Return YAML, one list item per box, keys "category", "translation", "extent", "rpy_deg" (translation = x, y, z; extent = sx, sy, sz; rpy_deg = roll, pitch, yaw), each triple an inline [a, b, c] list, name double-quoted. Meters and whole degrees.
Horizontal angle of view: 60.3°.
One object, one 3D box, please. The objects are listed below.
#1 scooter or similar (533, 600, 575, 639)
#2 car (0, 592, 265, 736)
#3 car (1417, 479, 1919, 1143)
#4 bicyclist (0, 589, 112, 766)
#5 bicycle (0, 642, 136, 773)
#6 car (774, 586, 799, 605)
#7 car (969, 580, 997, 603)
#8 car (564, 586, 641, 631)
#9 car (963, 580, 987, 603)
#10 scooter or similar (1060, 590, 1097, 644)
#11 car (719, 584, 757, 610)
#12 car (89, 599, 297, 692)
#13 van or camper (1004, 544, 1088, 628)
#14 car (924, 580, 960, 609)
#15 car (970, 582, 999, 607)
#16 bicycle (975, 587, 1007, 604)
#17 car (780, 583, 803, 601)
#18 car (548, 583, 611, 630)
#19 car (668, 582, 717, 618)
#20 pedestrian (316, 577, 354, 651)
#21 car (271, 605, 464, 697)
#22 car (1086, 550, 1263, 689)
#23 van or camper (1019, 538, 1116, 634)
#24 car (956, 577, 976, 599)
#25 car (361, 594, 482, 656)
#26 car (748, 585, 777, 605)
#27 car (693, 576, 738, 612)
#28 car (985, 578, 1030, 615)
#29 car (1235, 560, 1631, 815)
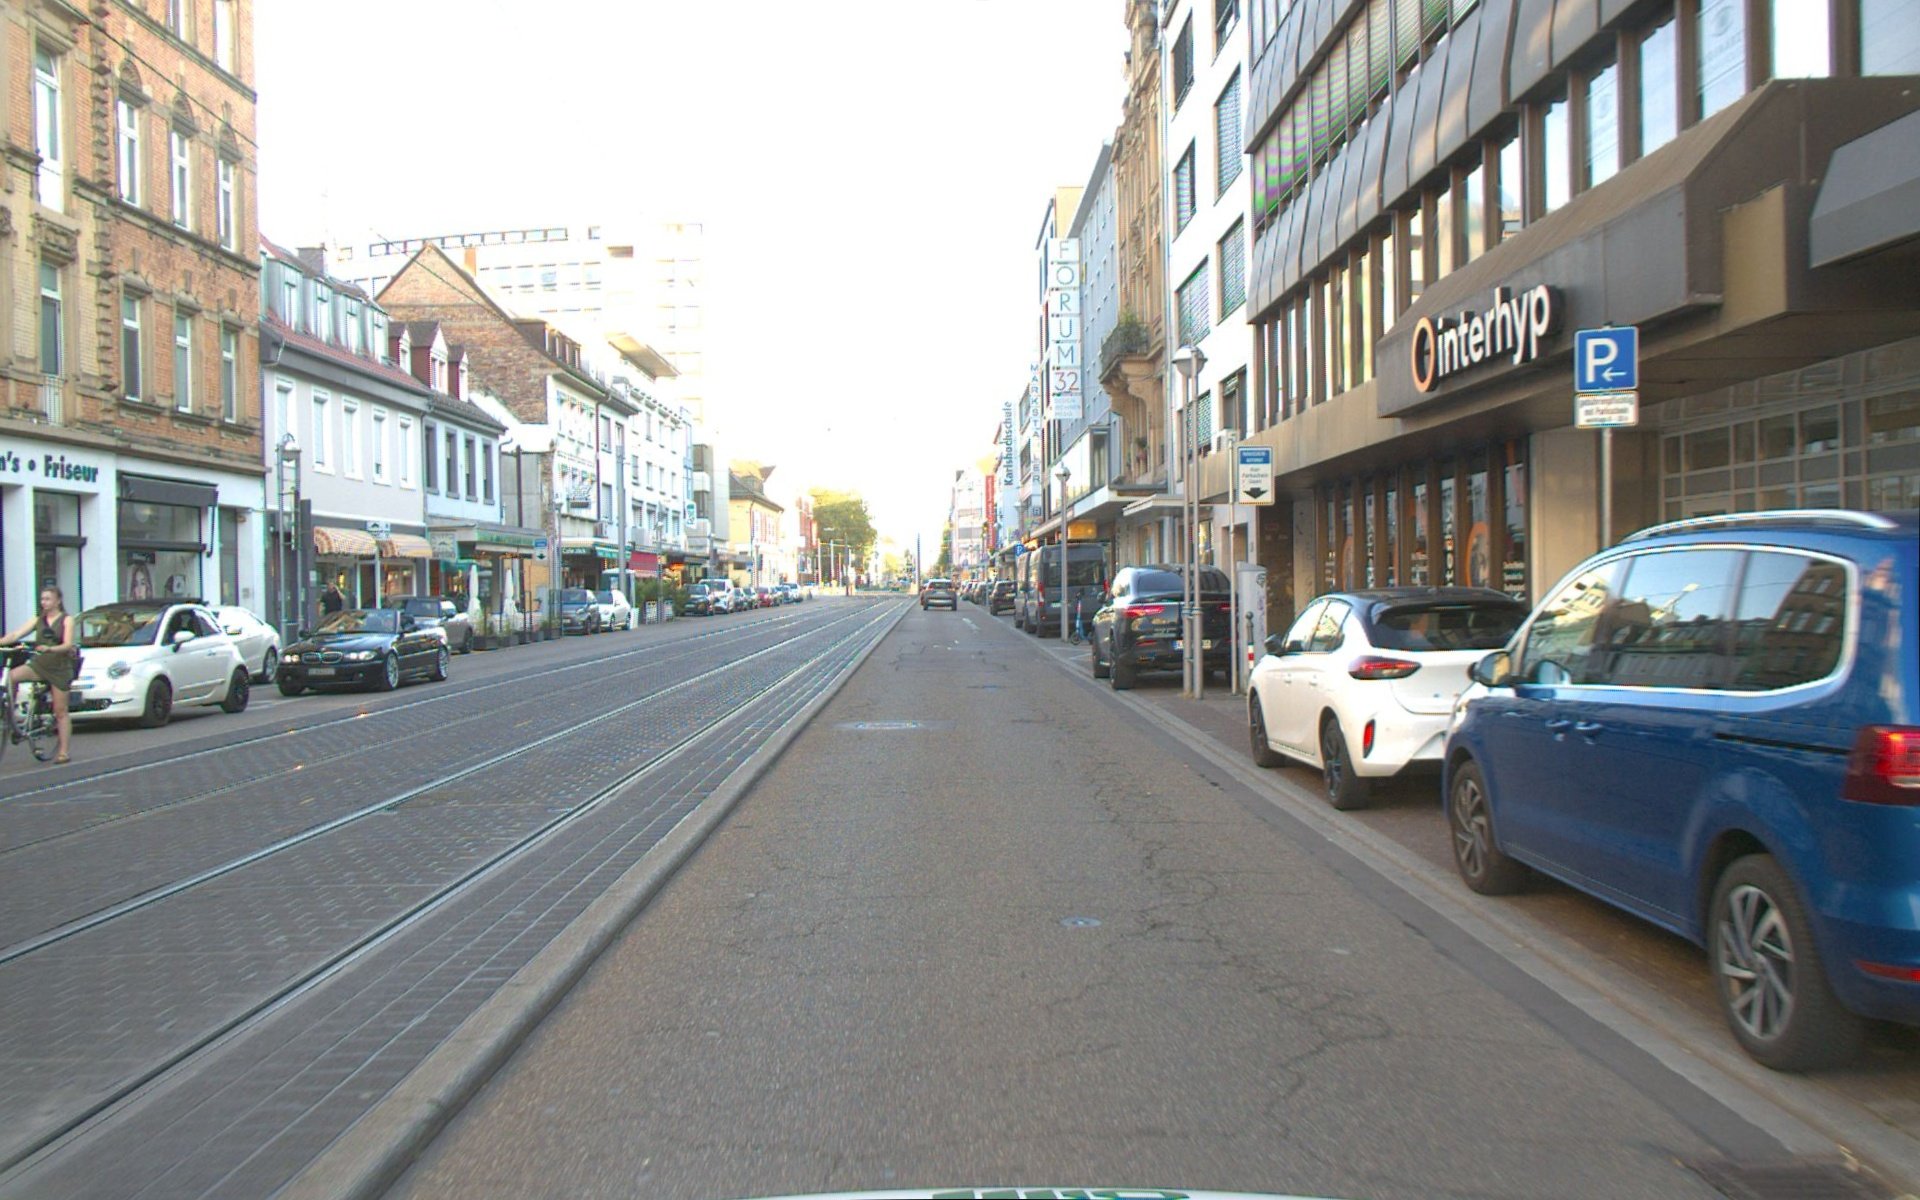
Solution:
- category: "scooter or similar"
  translation: [-13.100, 0.623, 53.380]
  extent: [1.287, 1.226, 0.294]
  rpy_deg: [1, 0, 0]
- category: "car"
  translation: [-10.303, 0.725, 20.709]
  extent: [1.633, 1.532, 3.679]
  rpy_deg: [-3, 1, -1]
- category: "car"
  translation: [3.420, 0.485, 6.535]
  extent: [1.876, 1.747, 4.563]
  rpy_deg: [-3, 1, 0]
- category: "bicyclist"
  translation: [-8.451, 0.701, 15.398]
  extent: [0.679, 1.593, 0.799]
  rpy_deg: [-1, 0, -2]
- category: "bicycle"
  translation: [-8.439, 0.960, 15.263]
  extent: [0.679, 1.052, 2.081]
  rpy_deg: [-1, 0, -2]
- category: "car"
  translation: [-14.538, -0.390, 138.404]
  extent: [1.754, 1.475, 3.890]
  rpy_deg: [1, 0, -2]
- category: "car"
  translation: [1.631, -0.616, 120.354]
  extent: [1.904, 1.571, 4.544]
  rpy_deg: [-3, 1, 0]
- category: "car"
  translation: [-13.181, 0.282, 61.194]
  extent: [1.812, 1.531, 4.841]
  rpy_deg: [1, 0, -1]
- category: "car"
  translation: [1.224, -0.710, 136.562]
  extent: [1.904, 1.732, 4.544]
  rpy_deg: [-3, 1, 0]
- category: "scooter or similar"
  translation: [2.869, 0.406, 39.916]
  extent: [0.347, 1.245, 1.113]
  rpy_deg: [-3, 0, 31]
- category: "car"
  translation: [-13.911, -0.190, 103.841]
  extent: [1.878, 1.547, 4.628]
  rpy_deg: [1, 0, -2]
- category: "car"
  translation: [-13.047, 0.725, 28.441]
  extent: [1.724, 1.414, 4.271]
  rpy_deg: [1, 0, -3]
- category: "van or camper"
  translation: [2.753, -0.453, 54.127]
  extent: [2.145, 2.468, 5.515]
  rpy_deg: [-3, 0, -2]
- category: "car"
  translation: [-0.984, -0.311, 91.599]
  extent: [1.904, 1.572, 4.544]
  rpy_deg: [-1, 1, 0]
- category: "car"
  translation: [1.682, -0.400, 114.903]
  extent: [1.904, 1.571, 4.544]
  rpy_deg: [-3, 1, 0]
- category: "bicycle"
  translation: [2.068, -0.299, 111.361]
  extent: [2.076, 1.109, 0.591]
  rpy_deg: [-1, 0, -4]
- category: "car"
  translation: [-14.701, -0.699, 144.450]
  extent: [1.754, 1.475, 3.890]
  rpy_deg: [1, 0, -2]
- category: "car"
  translation: [-13.017, 0.212, 56.676]
  extent: [1.559, 1.531, 2.812]
  rpy_deg: [1, 0, -2]
- category: "car"
  translation: [-14.140, -0.028, 87.772]
  extent: [1.878, 1.794, 4.429]
  rpy_deg: [1, 0, -1]
- category: "pedestrian"
  translation: [-15.429, 0.344, 40.844]
  extent: [0.634, 1.803, 0.855]
  rpy_deg: [0, 0, 0]
- category: "car"
  translation: [-9.601, 0.776, 27.140]
  extent: [1.633, 1.249, 4.273]
  rpy_deg: [-3, 1, -1]
- category: "car"
  translation: [3.073, 0.240, 24.627]
  extent: [1.944, 1.764, 4.670]
  rpy_deg: [-3, 1, 0]
- category: "van or camper"
  translation: [3.020, -0.403, 47.819]
  extent: [2.144, 2.468, 6.131]
  rpy_deg: [-3, 1, -1]
- category: "car"
  translation: [0.633, -1.300, 175.045]
  extent: [1.904, 2.183, 4.544]
  rpy_deg: [-3, 1, 0]
- category: "car"
  translation: [-13.163, 0.575, 40.674]
  extent: [1.698, 1.414, 3.864]
  rpy_deg: [1, 0, 0]
- category: "car"
  translation: [-14.296, -0.357, 119.905]
  extent: [1.754, 1.362, 3.890]
  rpy_deg: [1, 0, -2]
- category: "car"
  translation: [-14.154, -0.360, 95.896]
  extent: [1.878, 1.969, 4.841]
  rpy_deg: [1, 0, -1]
- category: "car"
  translation: [2.195, -0.175, 77.035]
  extent: [1.904, 1.571, 4.544]
  rpy_deg: [-3, 1, 0]
- category: "car"
  translation: [3.326, 0.538, 12.421]
  extent: [1.730, 1.511, 3.871]
  rpy_deg: [-3, 1, -1]
